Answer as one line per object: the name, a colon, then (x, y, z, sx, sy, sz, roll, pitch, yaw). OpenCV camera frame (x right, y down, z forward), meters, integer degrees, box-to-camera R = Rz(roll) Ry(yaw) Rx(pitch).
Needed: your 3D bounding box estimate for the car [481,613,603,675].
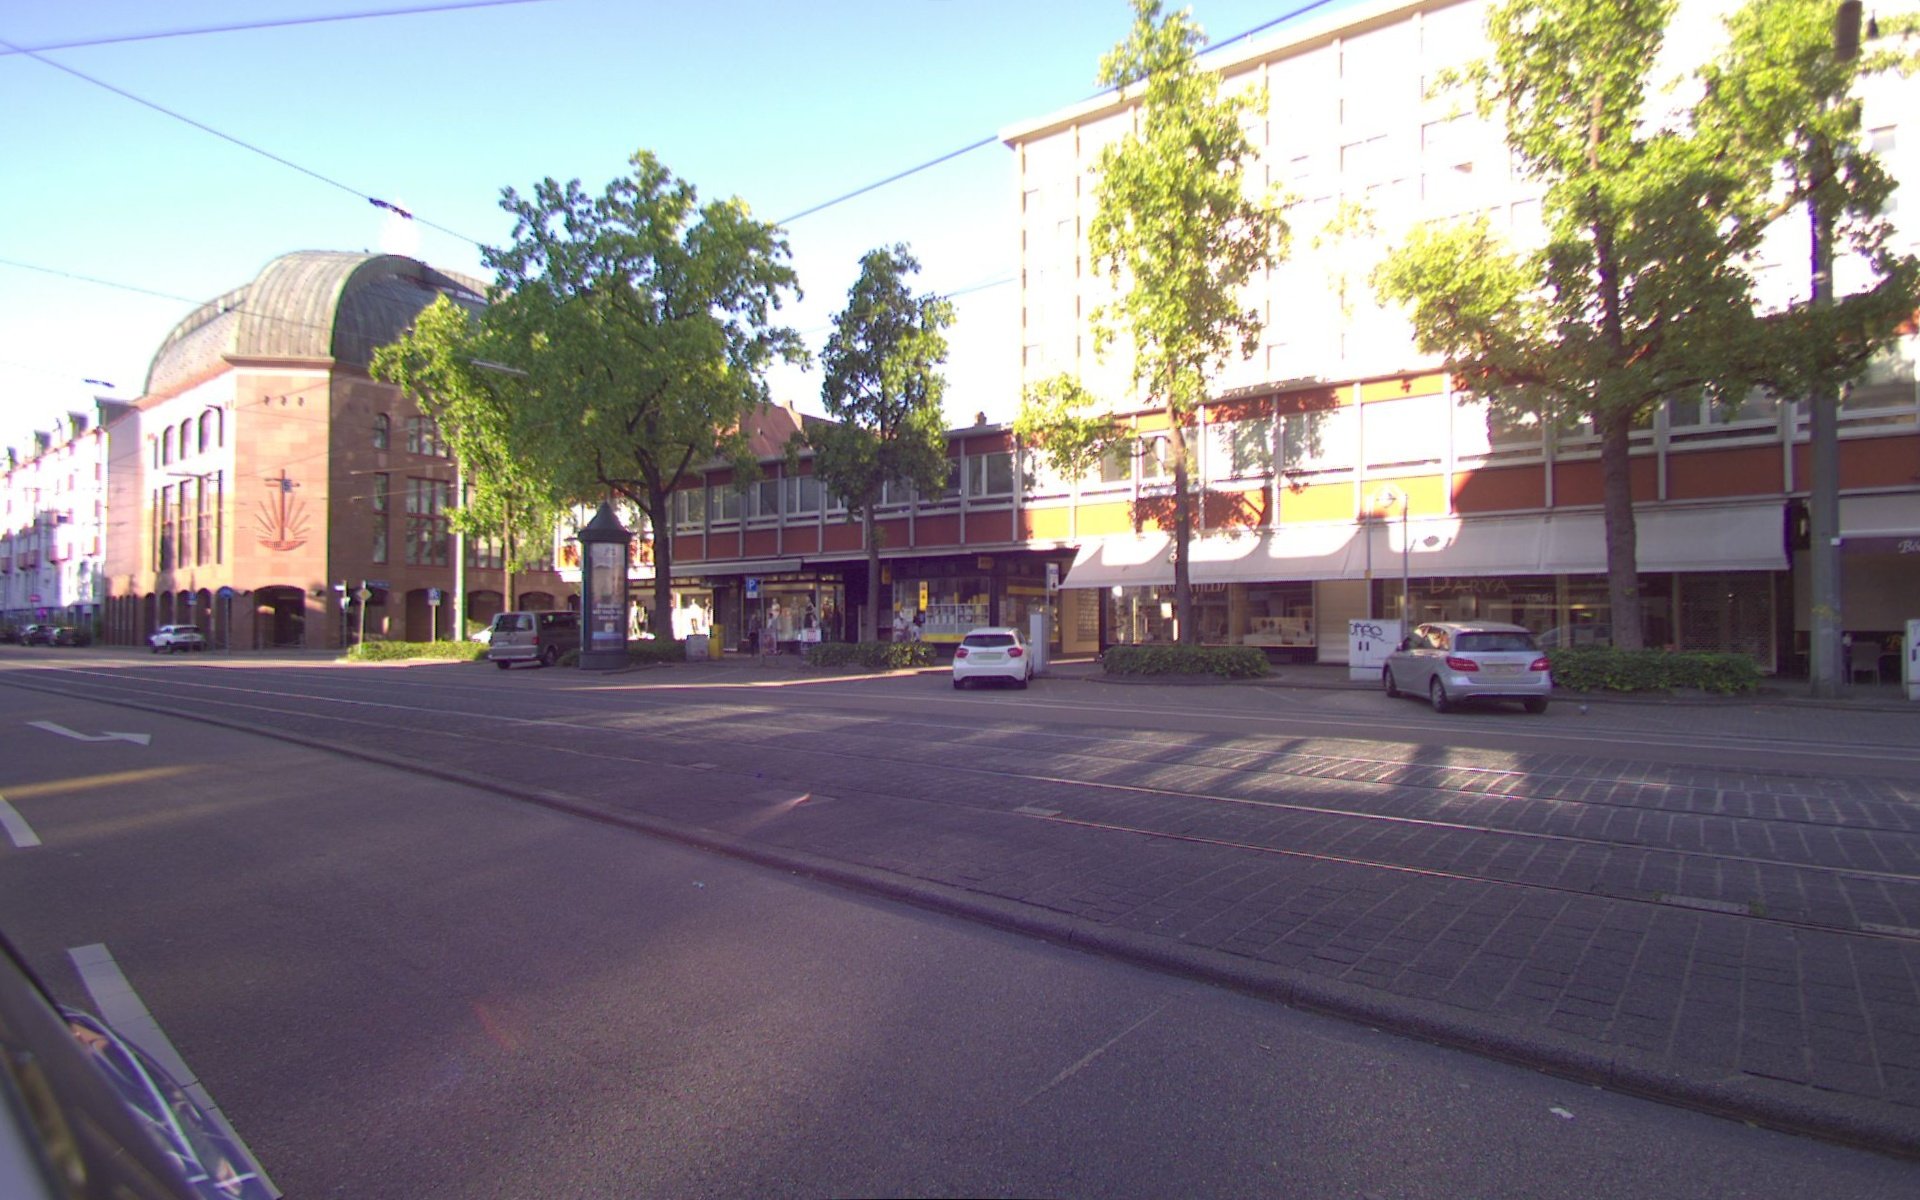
car: (-14.748, 1.482, 36.067, 1.831, 1.943, 5.112, 0, 0, 6)

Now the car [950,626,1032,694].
car: (0.860, 1.432, 25.414, 1.745, 1.440, 4.262, -1, 0, 6)

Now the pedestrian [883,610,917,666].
pedestrian: (-2.041, 1.294, 34.501, 0.903, 1.892, 0.903, 1, -2, -24)

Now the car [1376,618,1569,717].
car: (9.328, 1.149, 18.838, 1.805, 1.578, 4.271, 0, 0, 7)

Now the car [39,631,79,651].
car: (-66.559, 2.990, 74.741, 3.679, 1.411, 1.626, -1, -1, 39)

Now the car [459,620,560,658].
car: (-26.074, 2.222, 58.722, 2.128, 1.982, 4.934, 2, 0, 36)

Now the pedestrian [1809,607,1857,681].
pedestrian: (18.940, 0.951, 21.982, 0.705, 1.575, 0.864, -2, -2, 38)

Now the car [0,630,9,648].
car: (-86.780, 3.505, 90.607, 4.555, 1.520, 1.807, -1, -1, 38)

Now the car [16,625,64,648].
car: (-71.837, 2.832, 79.034, 4.552, 1.713, 1.941, -1, -1, 37)

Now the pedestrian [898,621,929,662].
pedestrian: (-1.711, 1.521, 37.190, 0.898, 1.481, 0.681, -1, -2, 36)

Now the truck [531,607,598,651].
truck: (-25.773, 1.873, 65.898, 4.519, 2.784, 1.835, -1, -2, 34)

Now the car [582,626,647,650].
car: (-23.541, 2.568, 68.903, 4.519, 1.585, 1.835, -1, -2, 34)

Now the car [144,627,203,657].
car: (-45.353, 2.406, 58.310, 4.269, 1.602, 1.581, -1, 0, 36)

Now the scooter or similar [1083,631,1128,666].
scooter or similar: (4.661, 1.539, 32.459, 1.335, 1.102, 0.470, -1, -1, 36)

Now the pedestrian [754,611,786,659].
pedestrian: (-7.933, 1.448, 42.251, 0.898, 1.963, 0.984, -1, -2, 36)

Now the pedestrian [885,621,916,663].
pedestrian: (-2.141, 1.505, 36.623, 0.898, 1.509, 0.681, -1, -2, 36)

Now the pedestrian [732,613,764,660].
pedestrian: (-8.644, 1.469, 41.315, 0.898, 1.892, 0.908, -1, -2, 36)

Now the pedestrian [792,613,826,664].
pedestrian: (-5.629, 1.427, 37.737, 0.898, 1.892, 0.908, -1, -2, 36)
